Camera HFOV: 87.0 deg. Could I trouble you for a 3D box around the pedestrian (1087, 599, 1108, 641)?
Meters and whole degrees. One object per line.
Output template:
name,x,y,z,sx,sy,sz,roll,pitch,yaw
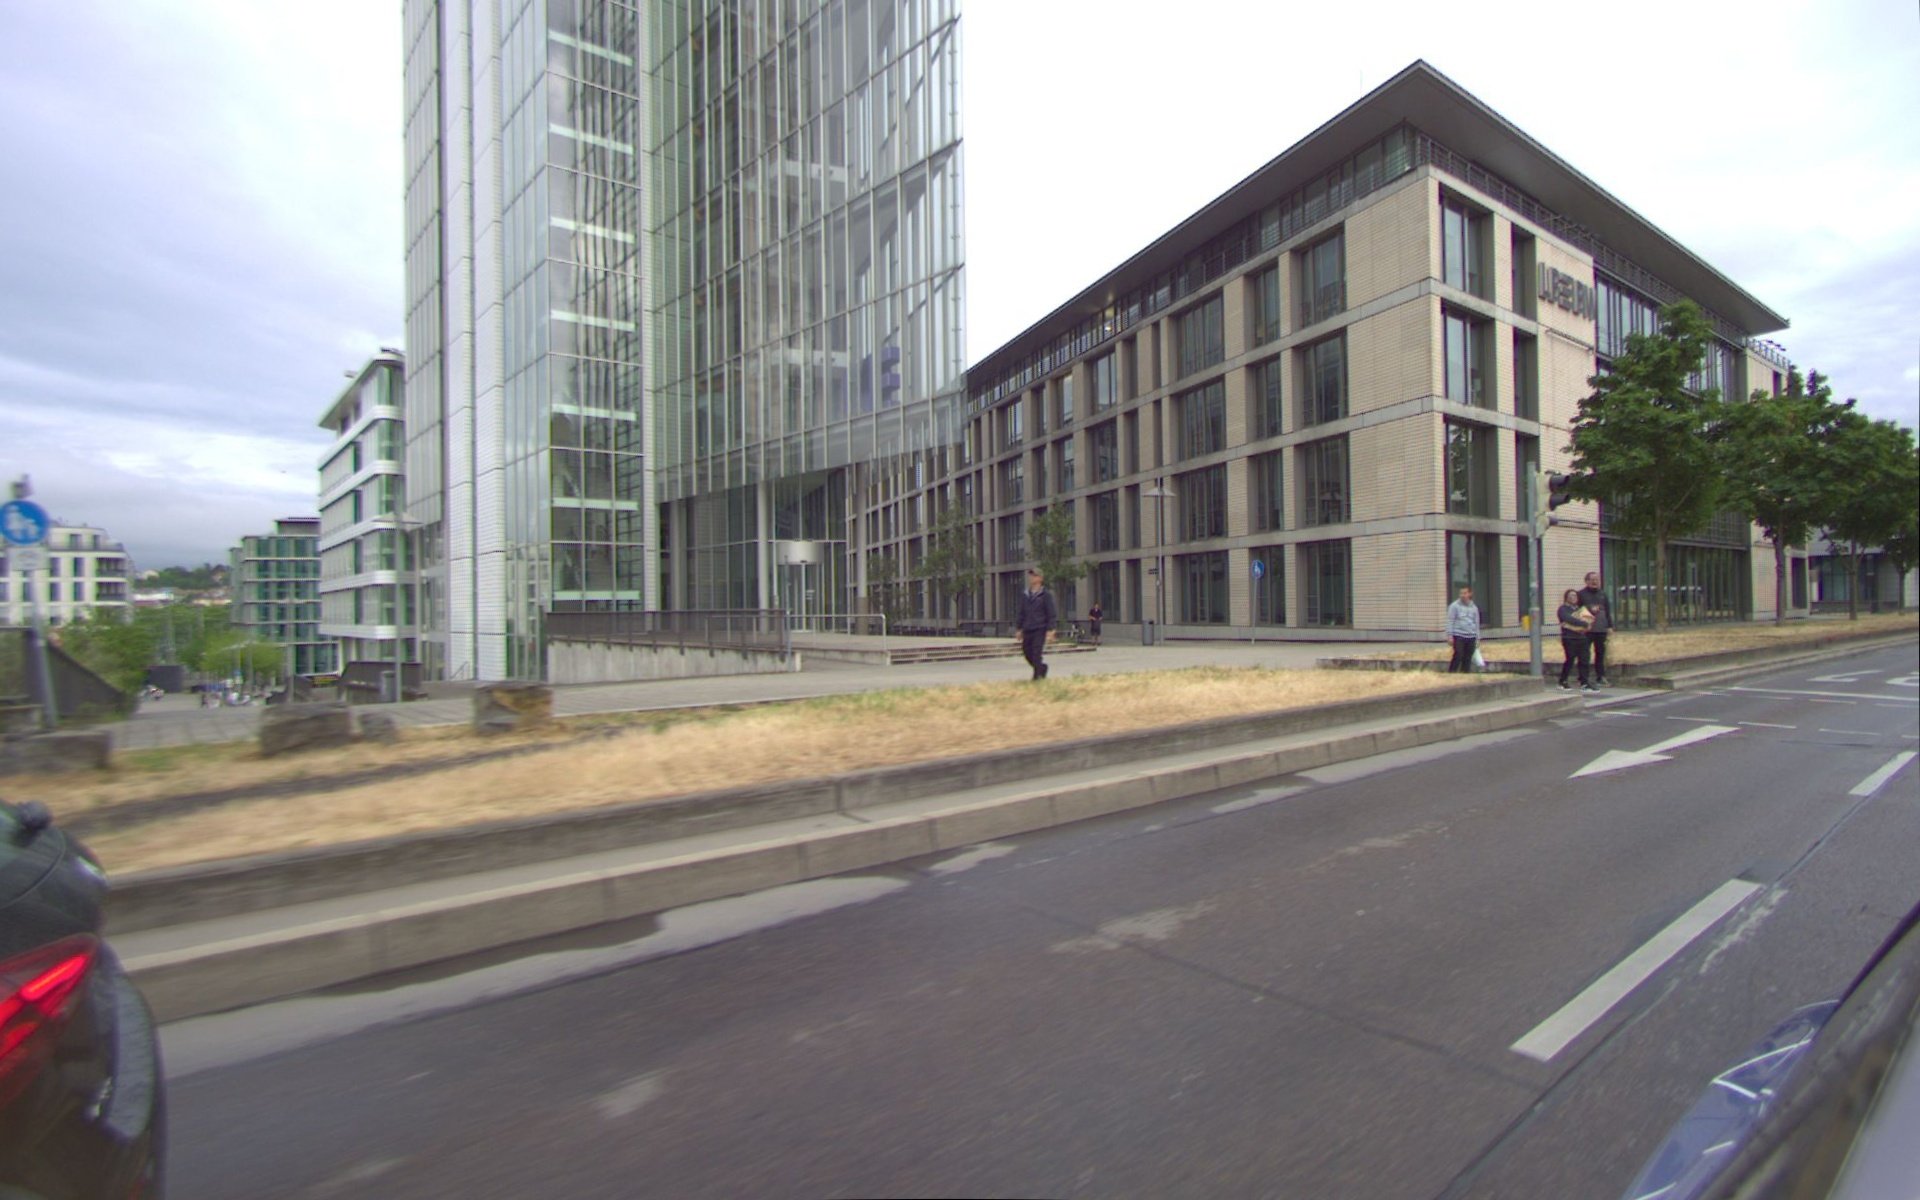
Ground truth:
pedestrian,5.971,0.868,43.946,0.621,1.767,0.637,-1,1,-19

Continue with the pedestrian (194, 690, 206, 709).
pedestrian,-73.860,9.698,98.313,0.797,1.723,0.787,-1,-1,44

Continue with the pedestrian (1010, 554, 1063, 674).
pedestrian,1.064,0.194,14.032,0.650,1.631,0.545,-1,-1,12

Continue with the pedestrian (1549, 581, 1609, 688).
pedestrian,9.225,0.496,15.078,0.589,1.547,0.543,-1,1,-32

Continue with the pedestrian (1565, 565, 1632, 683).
pedestrian,9.996,0.363,15.869,0.775,1.793,0.722,-1,1,26

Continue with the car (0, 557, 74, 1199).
car,-3.180,0.701,0.490,4.083,1.393,1.726,-2,1,-41

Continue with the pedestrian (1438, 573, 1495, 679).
pedestrian,7.930,0.392,15.857,0.643,1.619,0.462,-1,0,-3
